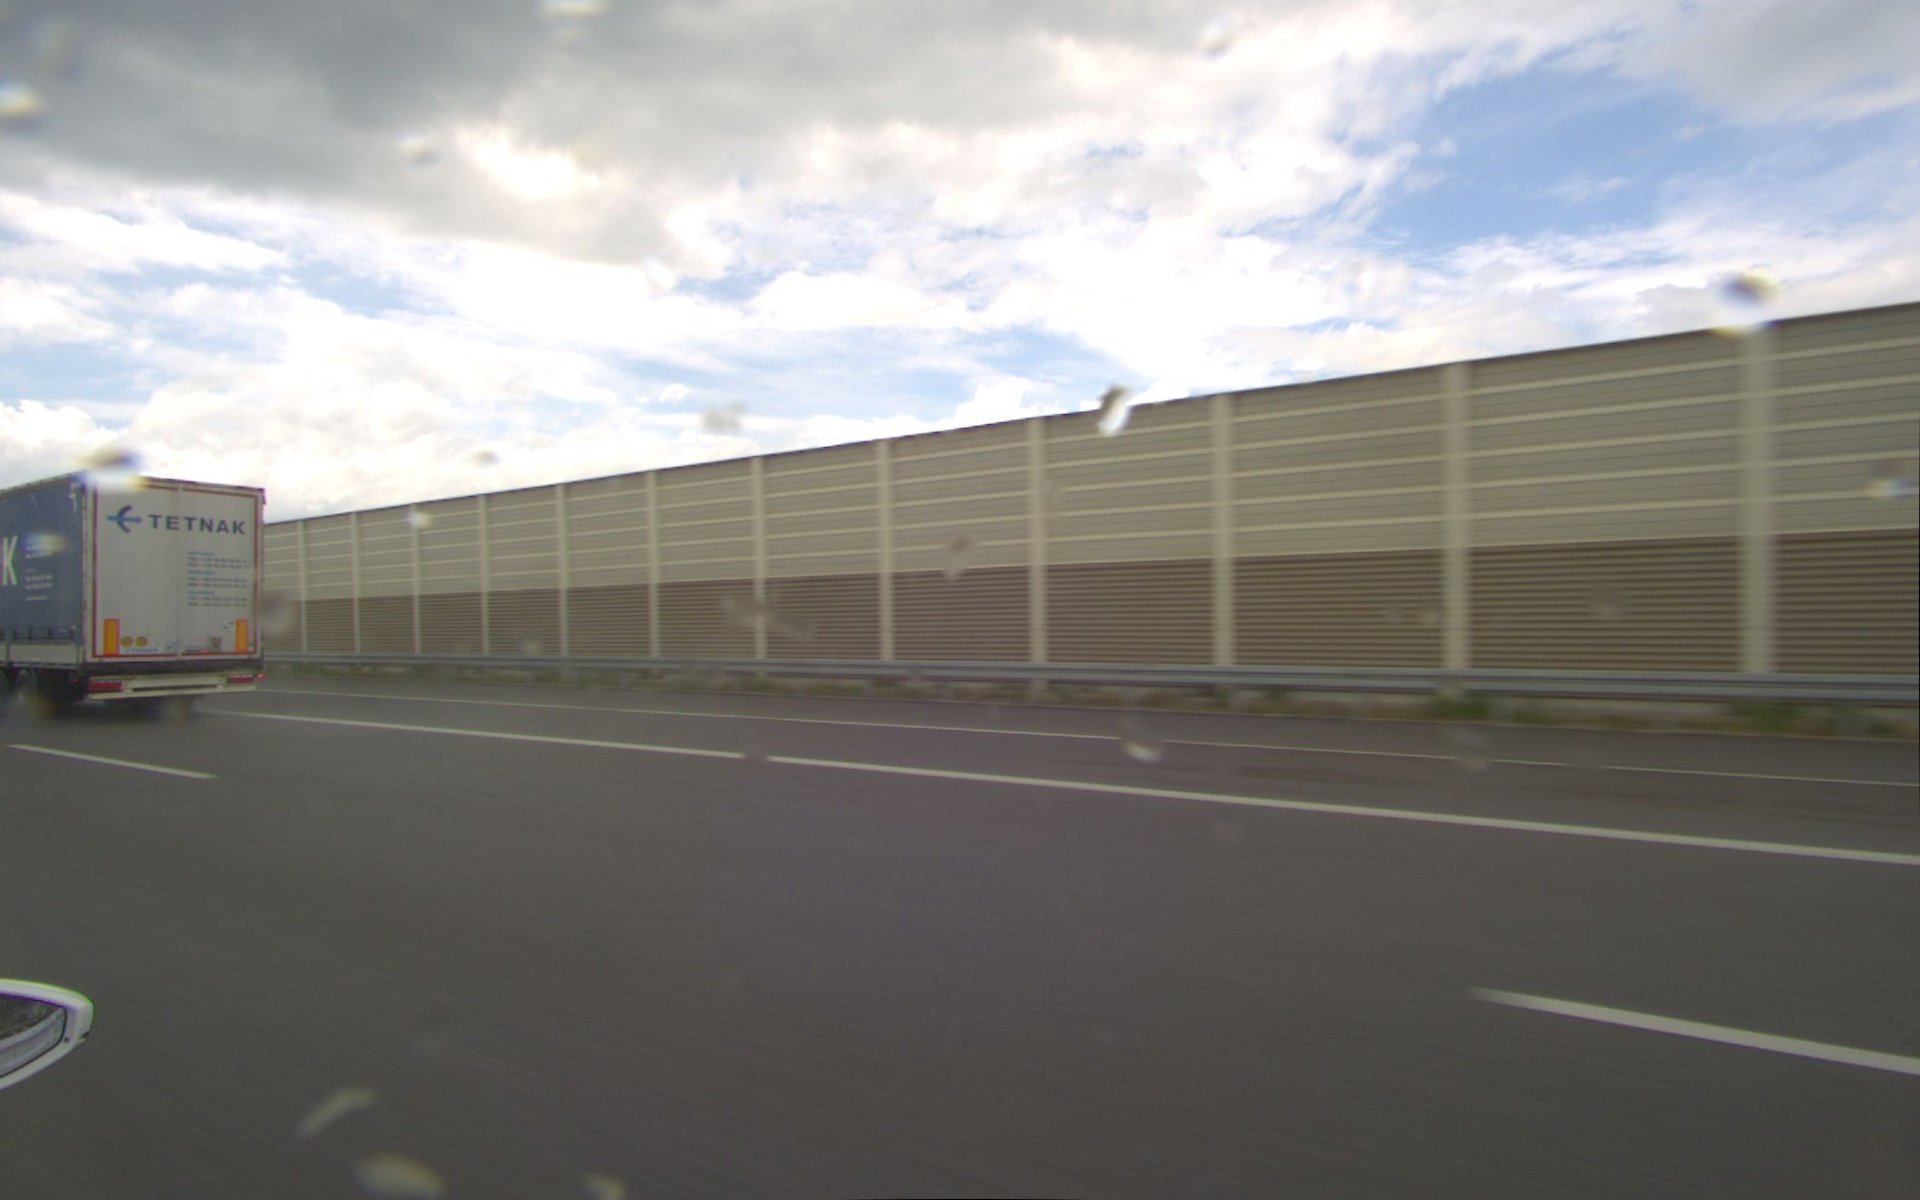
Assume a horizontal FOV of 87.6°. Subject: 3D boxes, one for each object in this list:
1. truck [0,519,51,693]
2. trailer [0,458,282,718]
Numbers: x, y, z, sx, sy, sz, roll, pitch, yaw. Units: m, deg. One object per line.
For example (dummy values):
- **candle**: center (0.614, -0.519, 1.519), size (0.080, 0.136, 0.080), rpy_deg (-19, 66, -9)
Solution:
- **truck**: center (-25.099, 0.193, 24.572), size (5.644, 4.086, 2.740), rpy_deg (-1, -1, 32)
- **trailer**: center (-18.988, -0.001, 20.727), size (14.247, 4.083, 2.756), rpy_deg (-1, -1, 32)
